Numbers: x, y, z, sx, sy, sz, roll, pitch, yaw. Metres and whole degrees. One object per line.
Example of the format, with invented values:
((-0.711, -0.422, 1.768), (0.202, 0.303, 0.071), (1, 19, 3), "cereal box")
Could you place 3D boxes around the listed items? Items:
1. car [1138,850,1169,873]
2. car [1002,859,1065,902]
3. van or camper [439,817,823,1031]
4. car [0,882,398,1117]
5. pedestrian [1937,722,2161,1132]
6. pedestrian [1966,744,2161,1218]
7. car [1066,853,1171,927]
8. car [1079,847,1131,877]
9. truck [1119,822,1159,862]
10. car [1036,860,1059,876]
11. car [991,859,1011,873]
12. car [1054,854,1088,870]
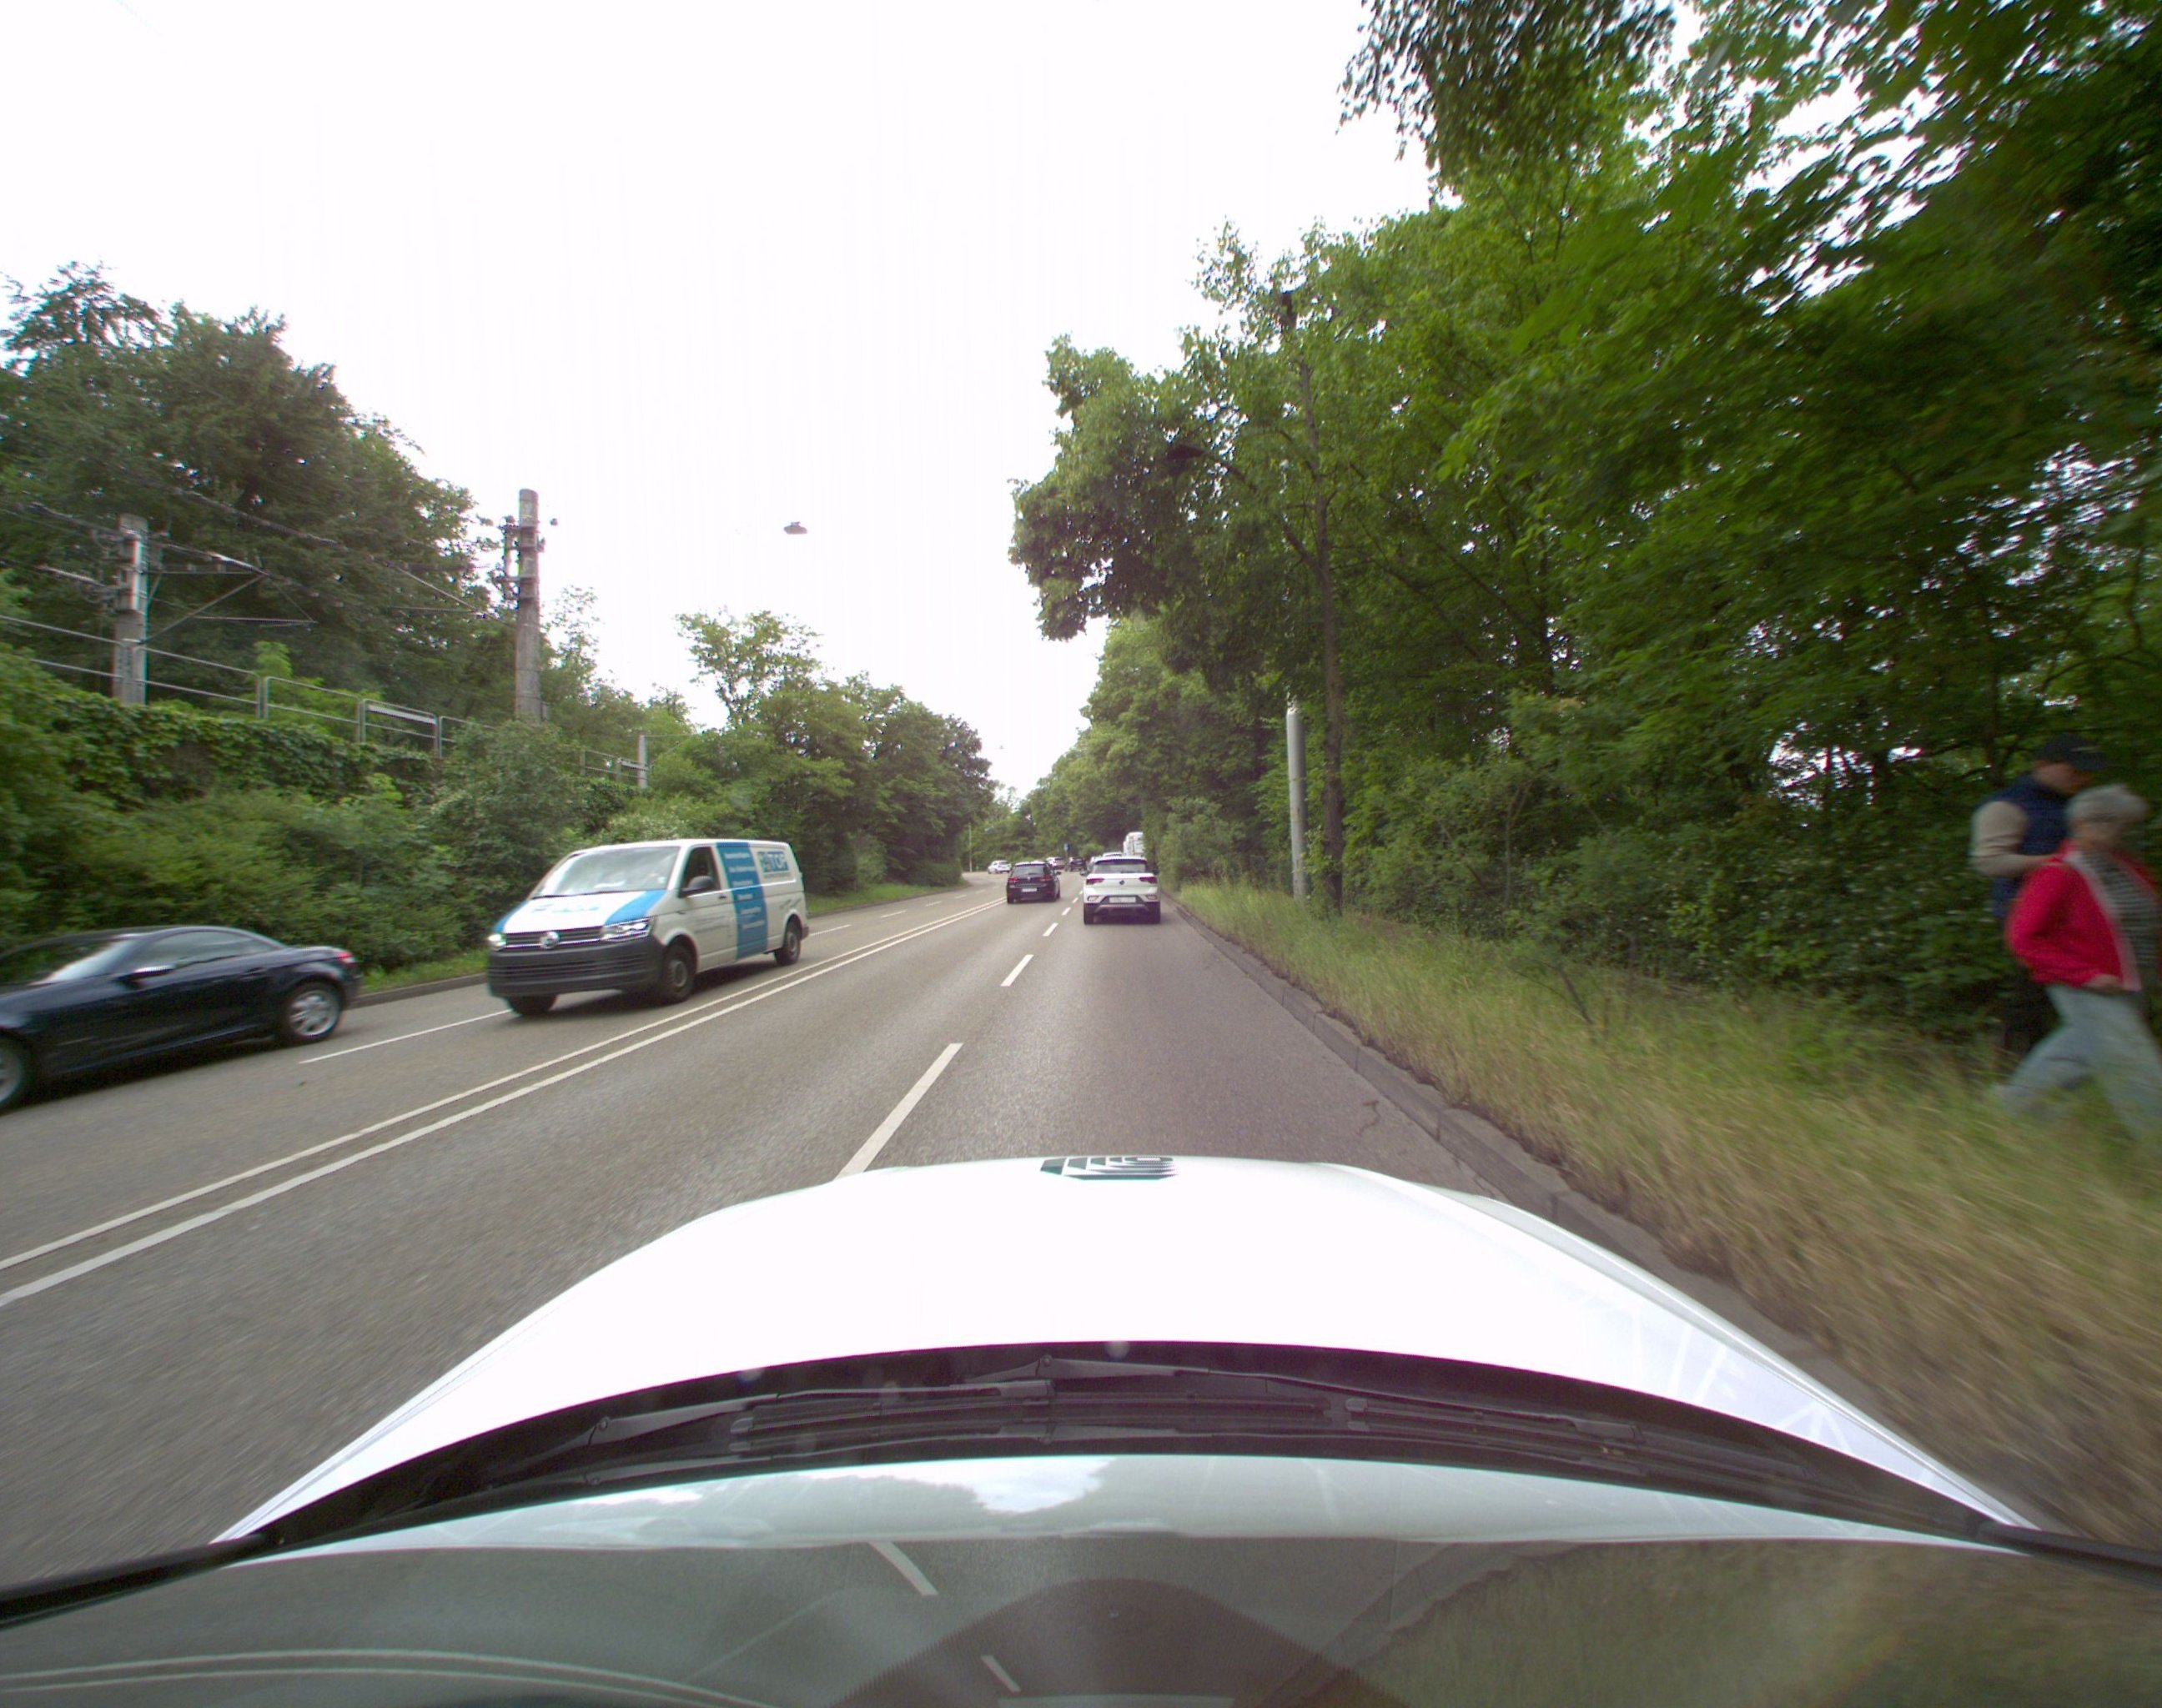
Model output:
((5.288, 0.570, 60.113), (1.798, 1.524, 3.998), (-5, -1, -1), "car")
((-1.670, 0.931, 30.142), (1.942, 1.466, 4.002), (-1, -1, 2), "car")
((-5.467, 0.740, 11.021), (1.987, 2.013, 5.369), (-5, -1, 1), "van or camper")
((-8.602, 1.154, 7.069), (1.730, 1.596, 4.070), (-4, -1, 2), "car")
((4.516, 0.312, 3.767), (0.518, 1.753, 0.524), (-1, -1, -2), "pedestrian")
((4.107, 0.450, 3.208), (0.607, 1.698, 0.548), (-1, -1, -1), "pedestrian")
((0.788, 0.808, 19.806), (1.998, 1.596, 3.992), (-1, -1, -6), "car")
((1.480, 0.491, 51.644), (1.858, 1.702, 3.973), (-5, 1, -20), "car")
((4.941, -0.957, 70.536), (2.476, 3.182, 7.220), (-1, -1, -3), "truck")
((-3.418, 1.393, 83.233), (1.986, 1.592, 4.002), (-1, -1, 2), "car")
((-9.641, 1.466, 98.598), (1.814, 1.623, 4.001), (-1, -1, 2), "car")
((-1.080, 0.862, 83.924), (1.777, 1.607, 3.961), (0, -1, -31), "car")
